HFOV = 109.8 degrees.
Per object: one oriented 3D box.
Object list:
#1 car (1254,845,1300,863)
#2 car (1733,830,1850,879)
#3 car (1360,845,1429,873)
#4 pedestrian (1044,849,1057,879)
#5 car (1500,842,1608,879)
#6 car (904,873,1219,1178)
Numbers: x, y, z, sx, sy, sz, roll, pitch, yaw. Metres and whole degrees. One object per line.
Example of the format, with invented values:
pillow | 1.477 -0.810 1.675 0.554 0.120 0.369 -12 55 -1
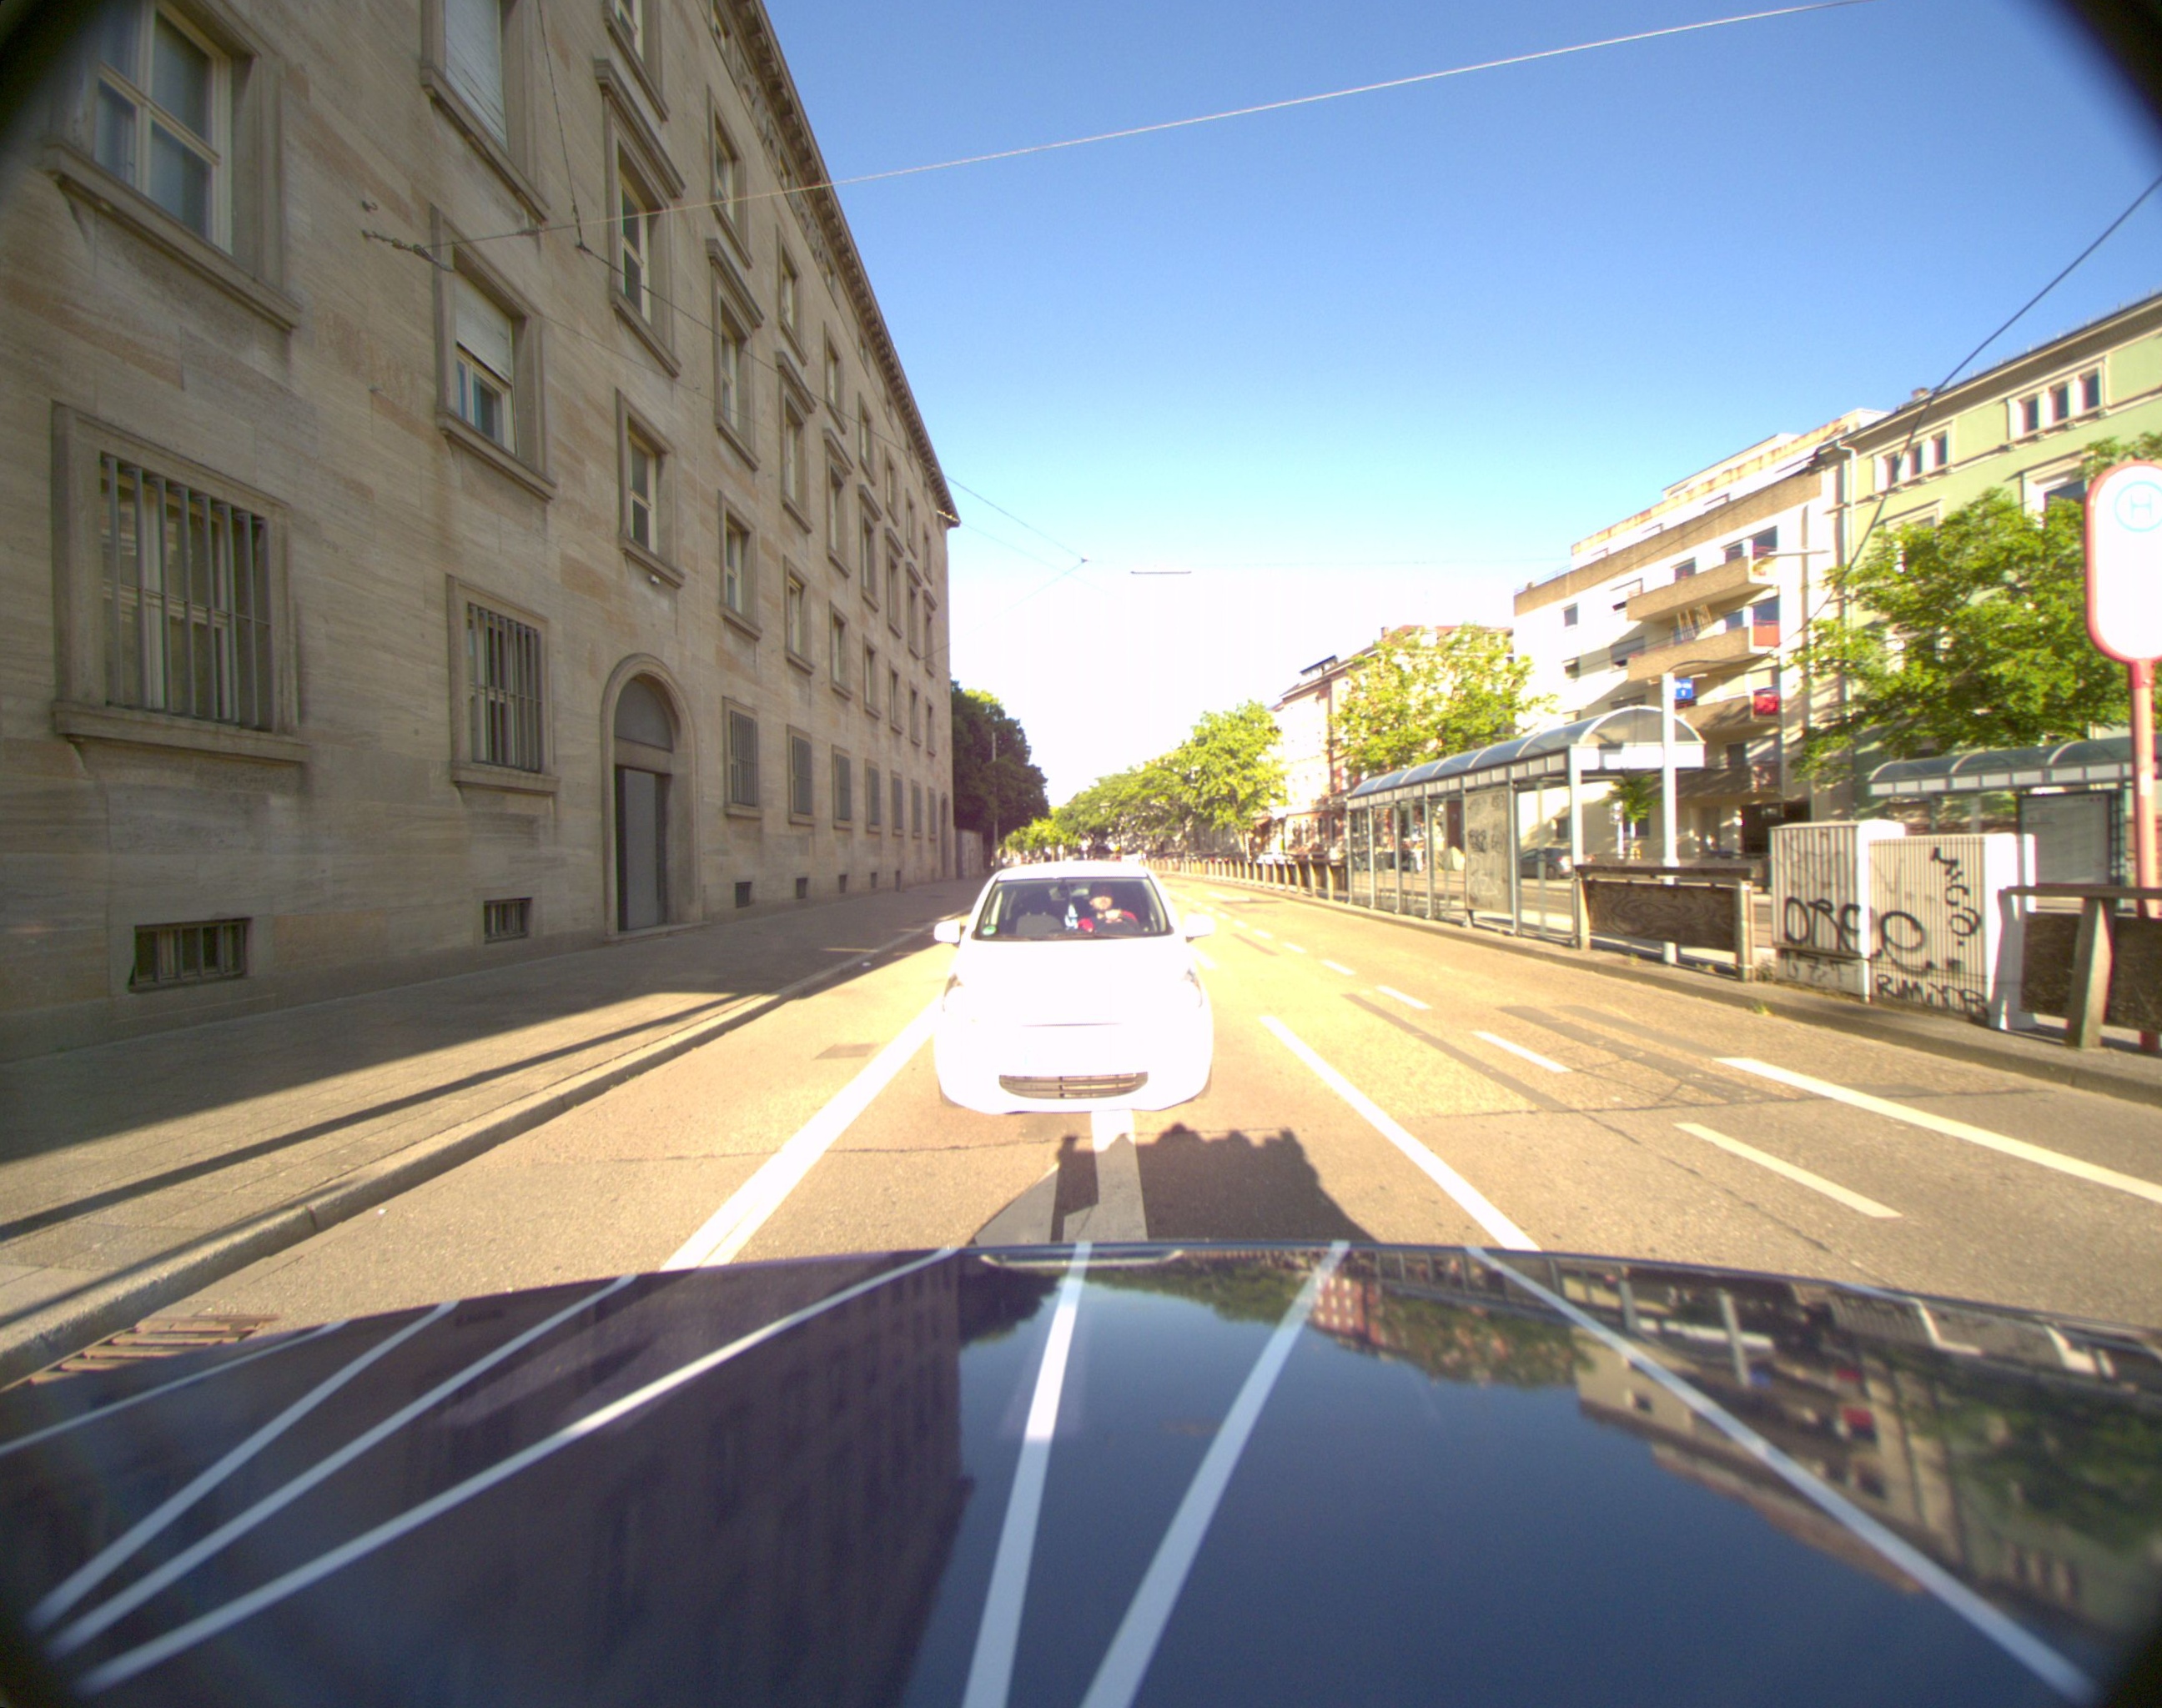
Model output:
car | 16.365 0.000 63.328 3.648 1.342 1.578 -2 1 -29
car | 30.921 0.017 33.116 4.001 2.002 1.798 -1 1 -13
car | 18.339 0.276 44.716 2.000 1.521 3.997 -1 0 -8
pedestrian | -1.734 0.572 43.753 0.686 1.673 0.928 -1 1 0
car | 21.056 0.273 34.059 2.000 1.521 3.997 0 0 -8
car | -0.077 0.942 5.777 1.606 1.455 3.621 -1 0 1
